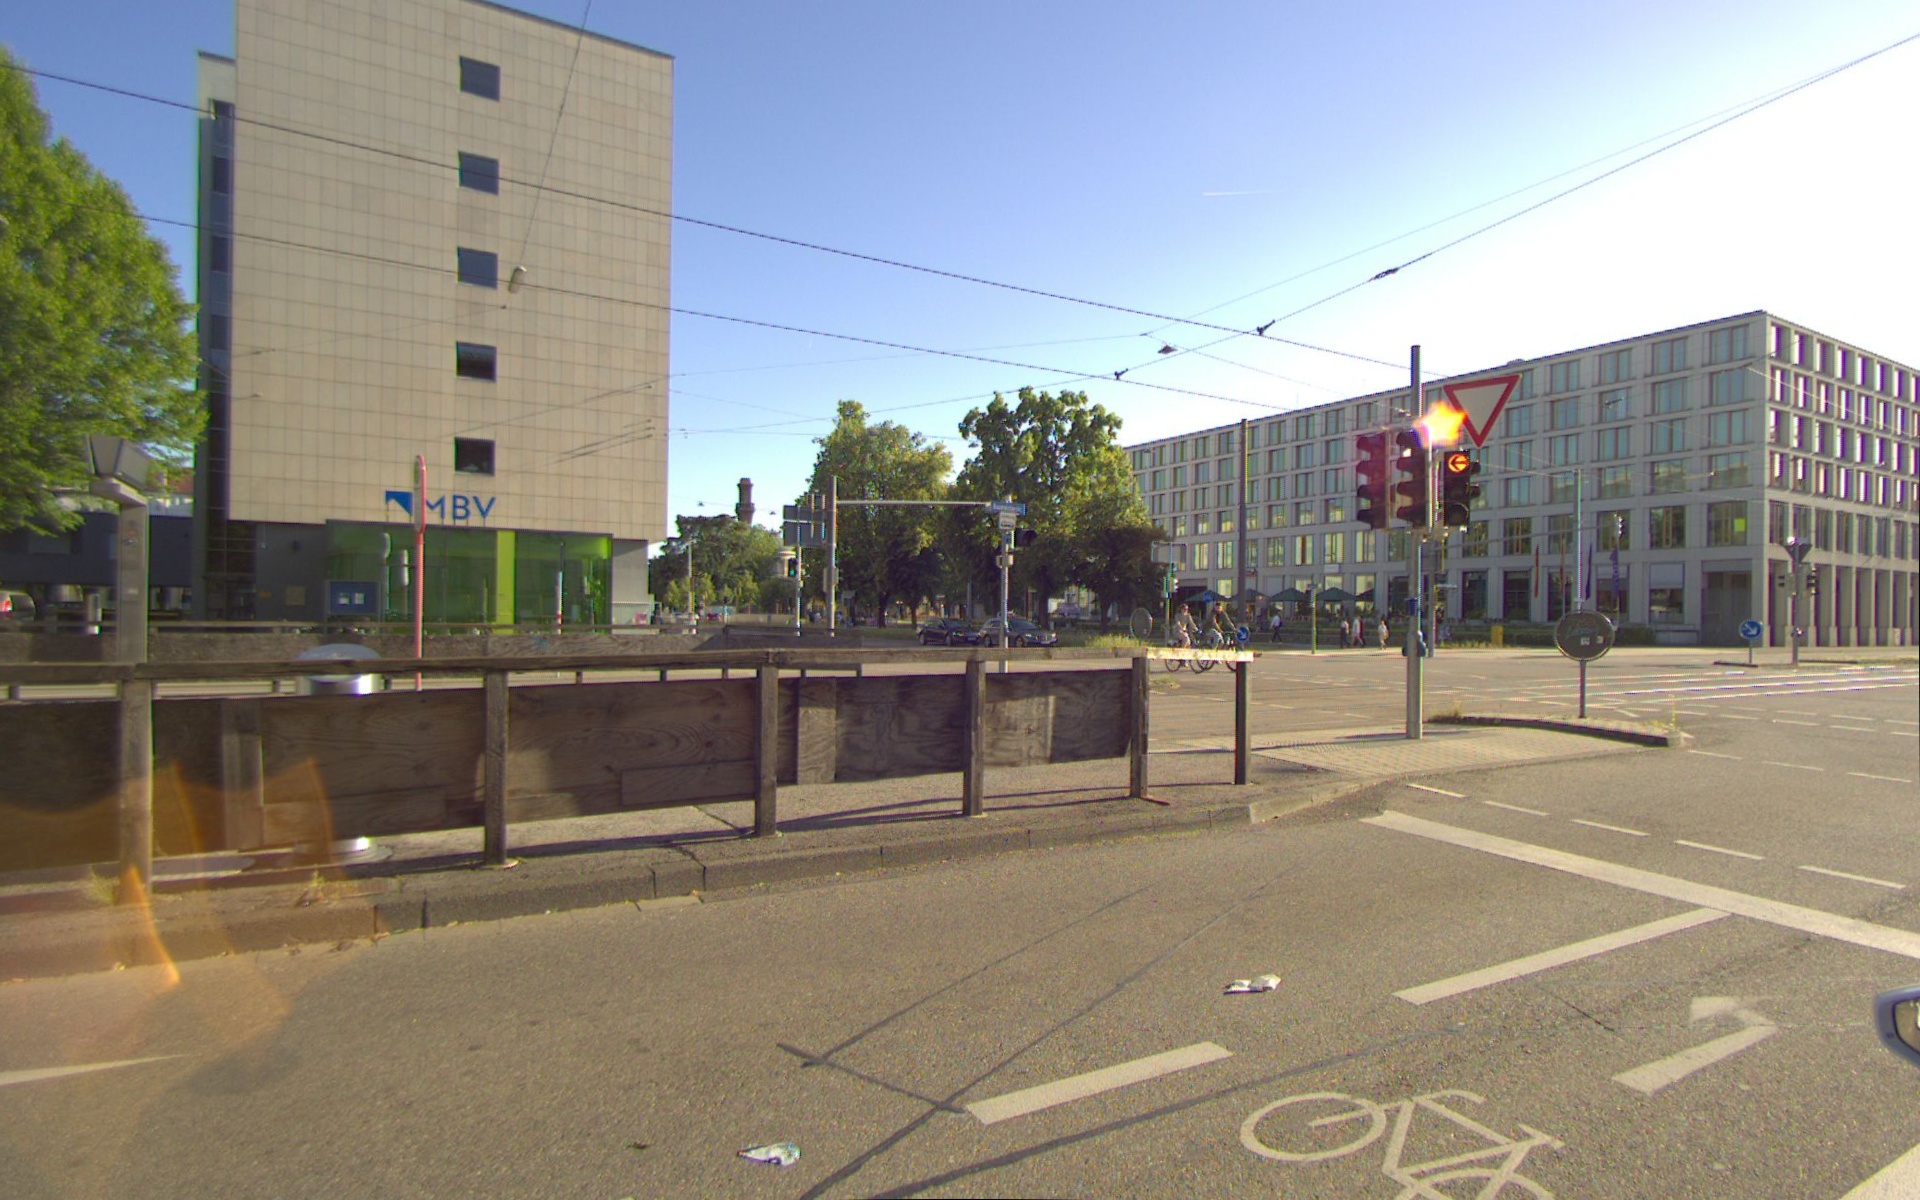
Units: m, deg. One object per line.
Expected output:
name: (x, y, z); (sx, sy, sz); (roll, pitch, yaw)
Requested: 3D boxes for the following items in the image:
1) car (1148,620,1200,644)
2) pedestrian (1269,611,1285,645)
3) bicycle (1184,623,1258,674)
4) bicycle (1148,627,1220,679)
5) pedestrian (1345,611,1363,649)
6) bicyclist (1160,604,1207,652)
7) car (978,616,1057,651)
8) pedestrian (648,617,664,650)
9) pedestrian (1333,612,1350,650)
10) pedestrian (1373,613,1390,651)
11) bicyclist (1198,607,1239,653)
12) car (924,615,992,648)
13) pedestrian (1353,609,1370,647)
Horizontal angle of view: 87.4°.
car: (13.496, 1.992, 63.454); (1.453, 1.457, 3.170); (1, -1, -29)
pedestrian: (18.245, 1.619, 57.881); (0.672, 1.928, 0.560); (1, -1, -21)
bicycle: (7.094, 1.302, 27.360); (0.783, 1.308, 1.975); (1, -1, -31)
bicycle: (5.881, 1.373, 26.500); (0.783, 1.308, 1.840); (1, -1, -33)
pedestrian: (21.350, 1.629, 54.414); (0.793, 2.040, 0.526); (1, -1, -36)
bicyclist: (5.901, 0.723, 26.495); (0.788, 1.235, 0.920); (1, -1, -33)
car: (2.677, 1.554, 47.671); (1.708, 1.595, 4.140); (1, -1, -31)
pedestrian: (-14.474, 1.581, 47.856); (0.593, 1.561, 0.620); (1, -1, -32)
pedestrian: (20.363, 1.650, 53.631); (0.793, 2.040, 0.526); (1, -1, -36)
pedestrian: (22.468, 1.706, 53.557); (0.793, 2.040, 0.526); (1, -1, -36)
bicyclist: (7.059, 0.815, 27.438); (0.788, 1.235, 0.717); (1, -1, -31)
car: (-0.127, 1.619, 52.397); (1.801, 1.595, 3.967); (0, 0, -31)
pedestrian: (22.143, 1.543, 55.340); (0.793, 2.040, 0.526); (1, -1, -36)
